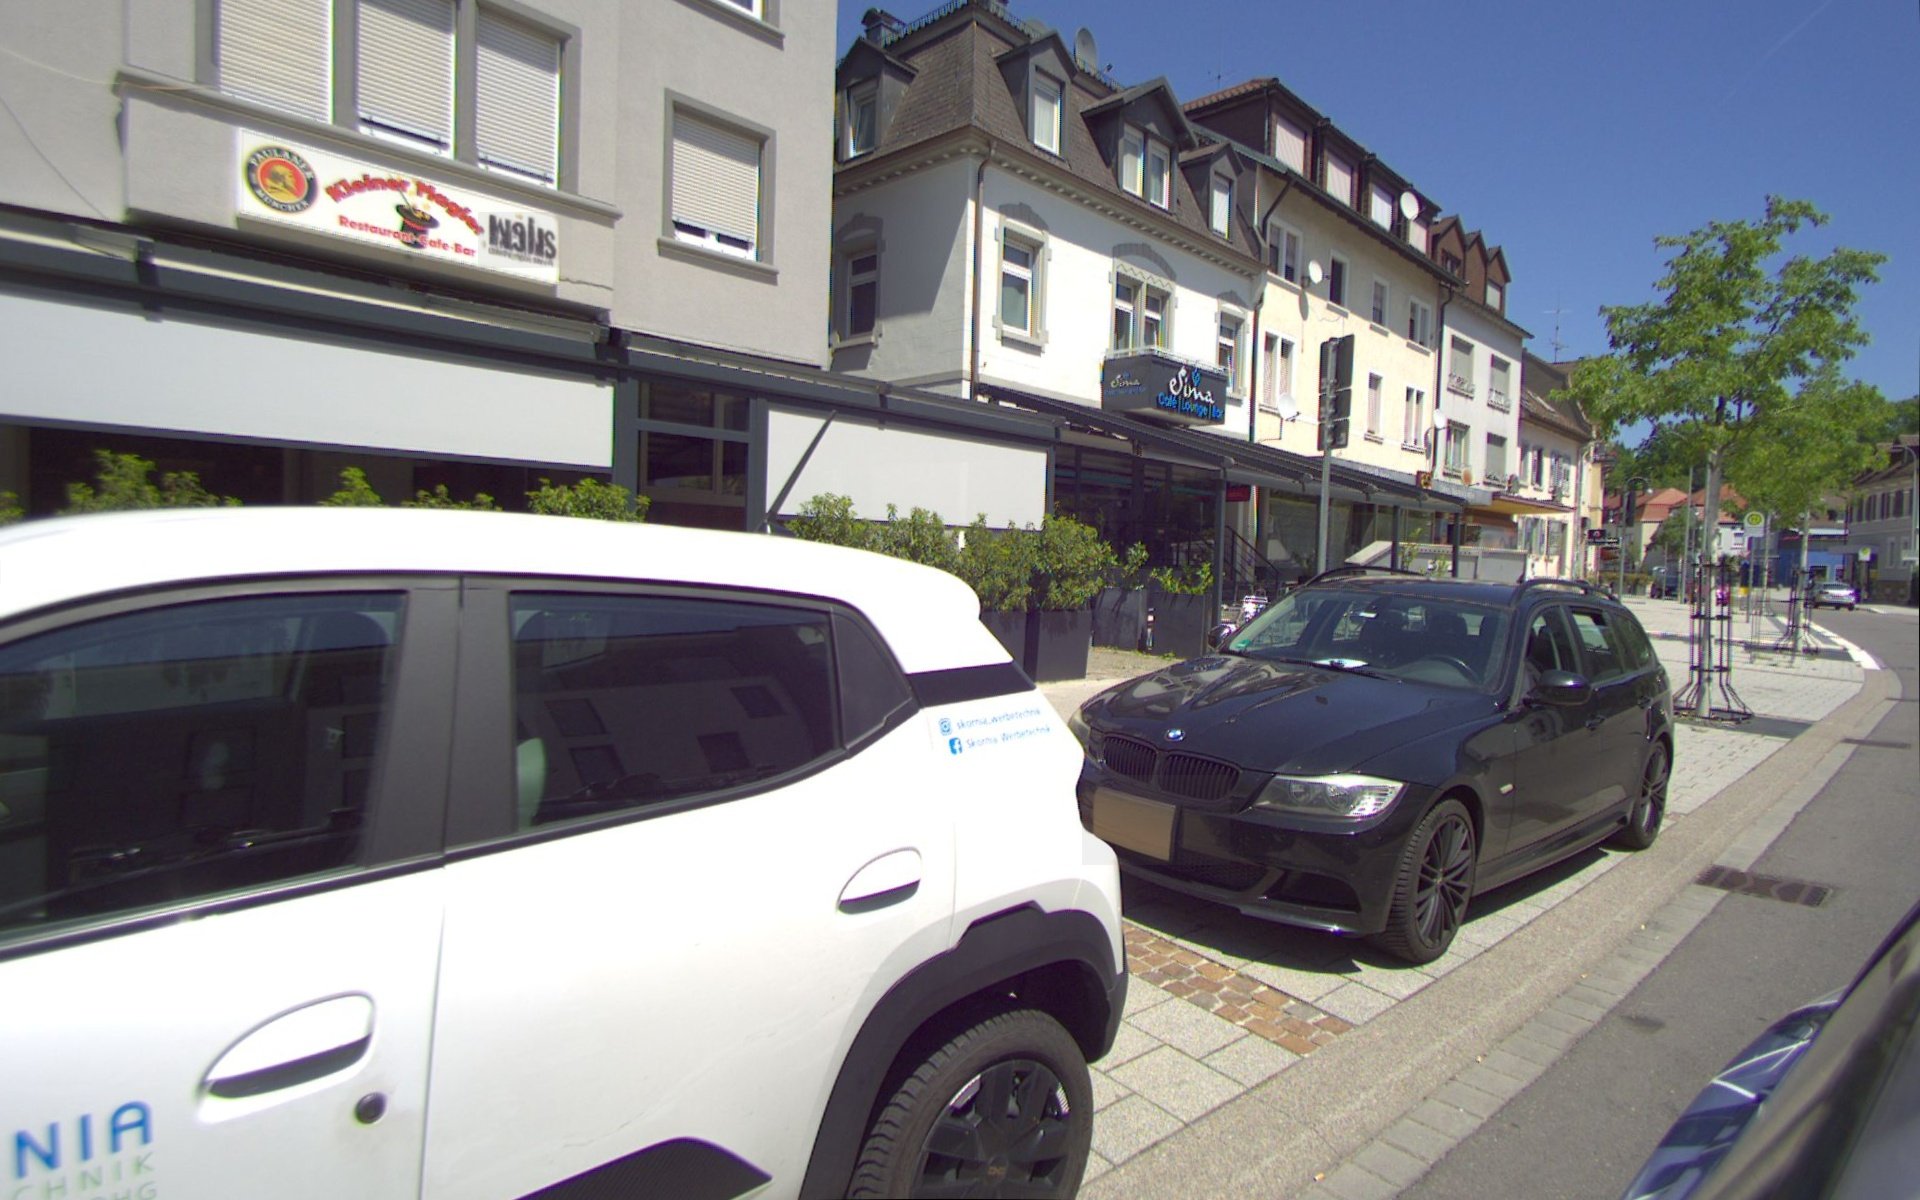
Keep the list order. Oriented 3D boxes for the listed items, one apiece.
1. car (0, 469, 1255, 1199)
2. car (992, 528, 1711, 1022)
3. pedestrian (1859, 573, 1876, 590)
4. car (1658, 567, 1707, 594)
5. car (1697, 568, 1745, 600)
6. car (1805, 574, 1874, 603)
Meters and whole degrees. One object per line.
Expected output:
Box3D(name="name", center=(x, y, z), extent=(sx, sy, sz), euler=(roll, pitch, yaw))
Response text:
Box3D(name="car", center=(-1.453, 0.541, 1.773), extent=(3.981, 1.503, 1.743), euler=(-1, 5, -39))
Box3D(name="car", center=(2.254, 0.460, 5.216), extent=(4.027, 1.499, 1.836), euler=(-2, 6, -43))
Box3D(name="pedestrian", center=(57.938, -1.173, 64.615), extent=(0.592, 1.072, 0.562), euler=(2, 2, 26))
Box3D(name="car", center=(44.965, -1.252, 63.033), extent=(1.719, 1.490, 4.285), euler=(5, 4, 26))
Box3D(name="car", center=(38.894, -0.841, 51.779), extent=(1.672, 1.533, 3.347), euler=(2, 2, 33))
Box3D(name="car", center=(46.452, -0.654, 53.524), extent=(1.654, 1.413, 3.817), euler=(2, 2, 24))
